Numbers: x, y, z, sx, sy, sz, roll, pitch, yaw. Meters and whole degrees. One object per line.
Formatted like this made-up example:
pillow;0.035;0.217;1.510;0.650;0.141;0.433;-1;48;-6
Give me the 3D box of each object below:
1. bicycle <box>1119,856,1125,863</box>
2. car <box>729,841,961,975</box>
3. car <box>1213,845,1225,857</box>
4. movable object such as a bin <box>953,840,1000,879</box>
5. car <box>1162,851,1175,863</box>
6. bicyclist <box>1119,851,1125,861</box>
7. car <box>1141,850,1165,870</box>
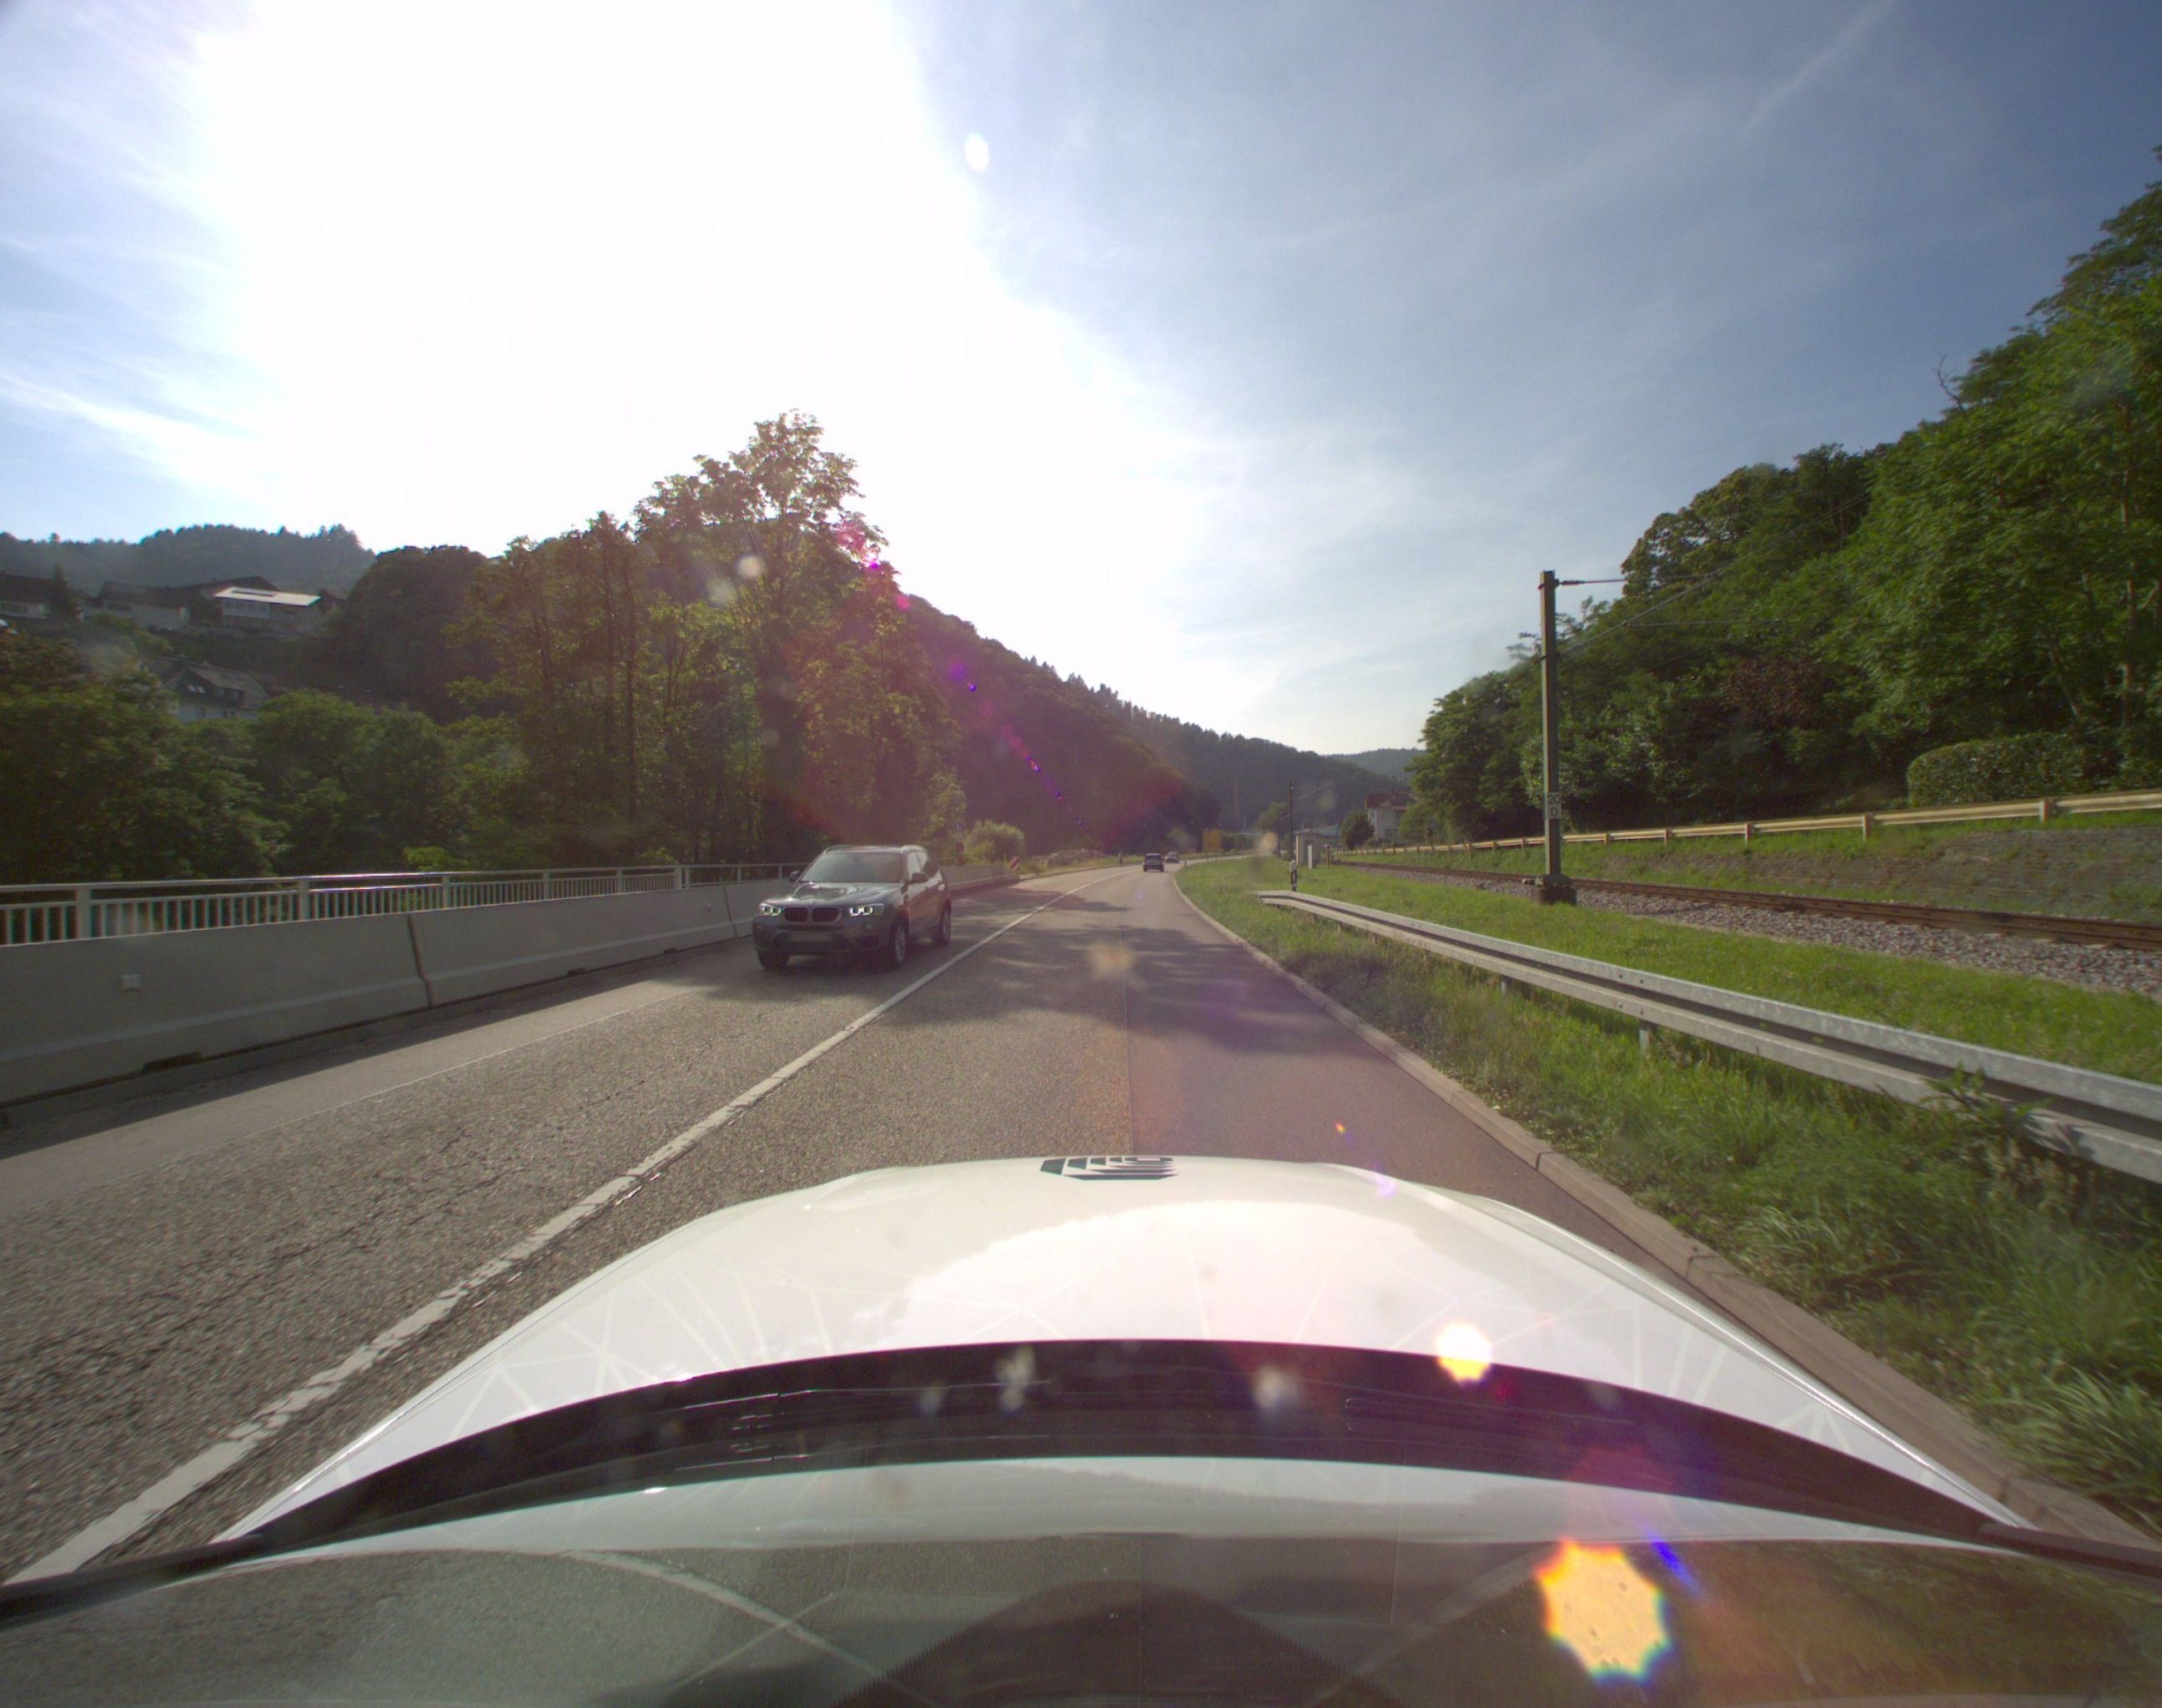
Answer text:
bicycle;5.243;0.667;104.745;0.536;0.881;2.258;1;0;8
car;-3.238;0.664;12.248;1.985;1.629;4.510;0;0;2
car;24.050;-0.472;141.629;1.981;2.013;4.011;-3;0;9
movable object such as a bin;-11.412;0.585;90.218;2.685;3.947;10.008;-3;-1;6
car;13.880;0.504;128.883;1.840;1.784;4.696;1;0;9
bicyclist;5.272;0.221;104.763;0.680;1.225;0.860;0;0;8
car;6.654;0.521;74.867;1.983;1.723;3.997;-3;0;6
